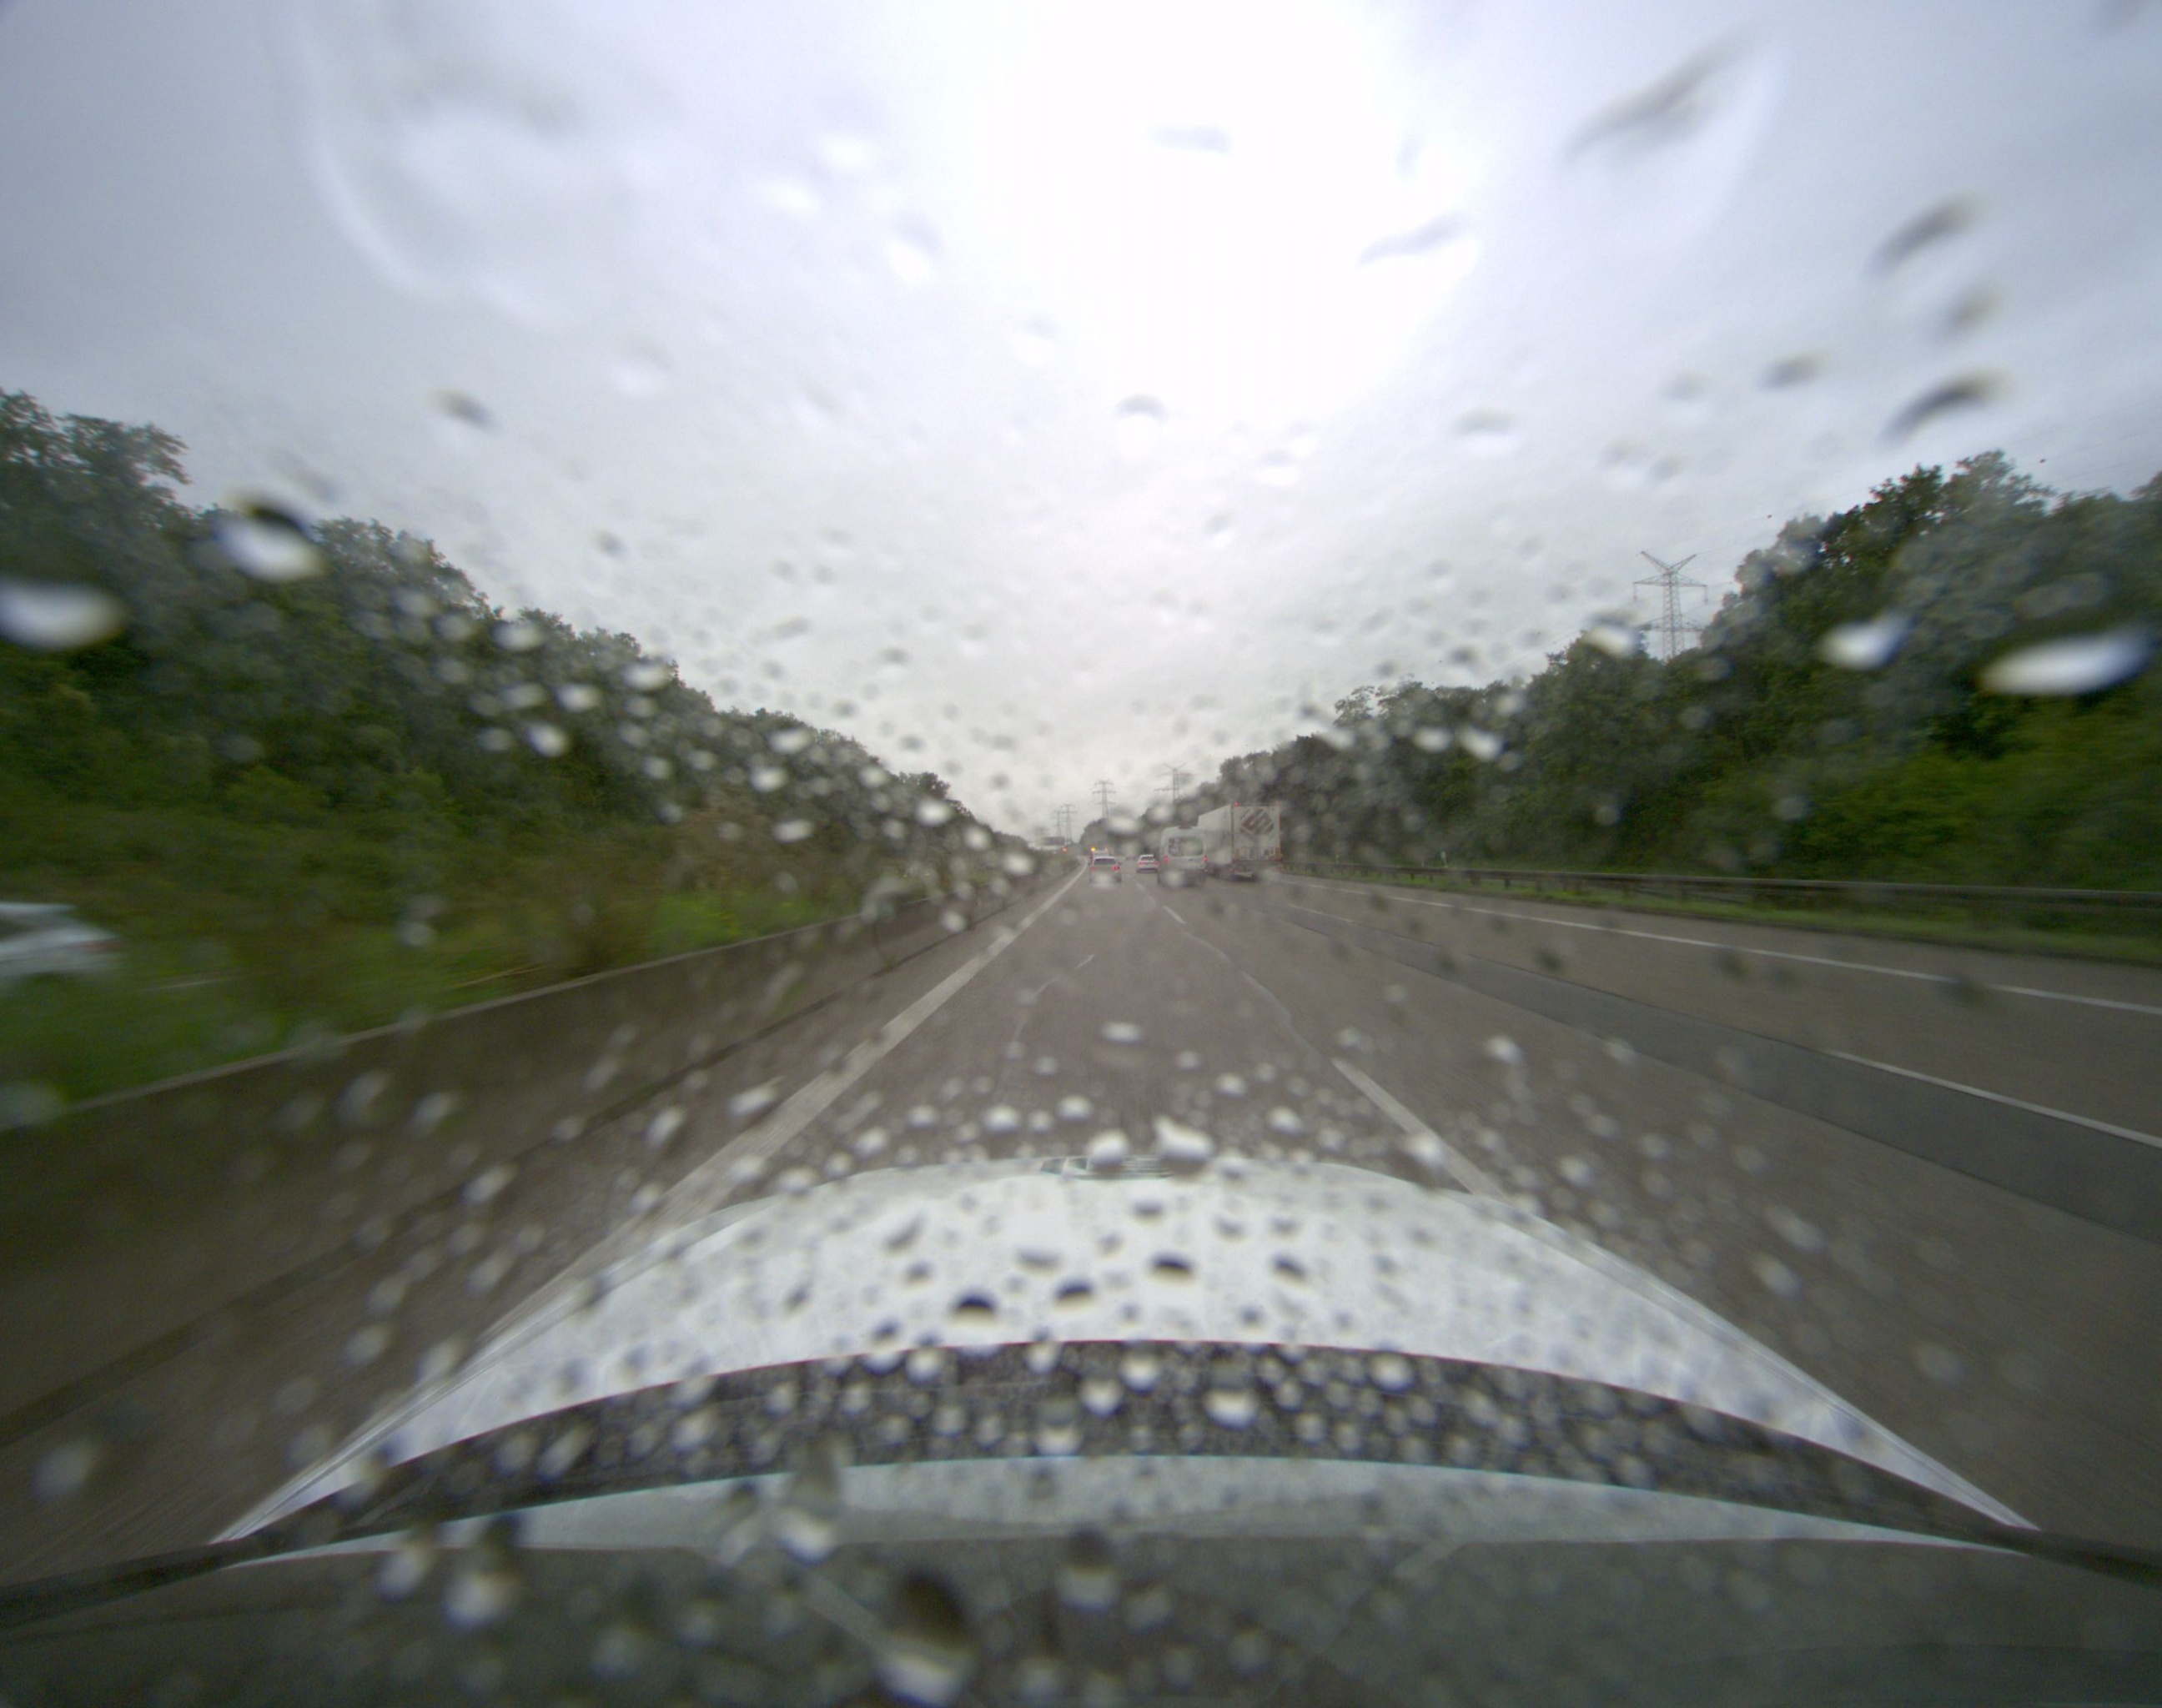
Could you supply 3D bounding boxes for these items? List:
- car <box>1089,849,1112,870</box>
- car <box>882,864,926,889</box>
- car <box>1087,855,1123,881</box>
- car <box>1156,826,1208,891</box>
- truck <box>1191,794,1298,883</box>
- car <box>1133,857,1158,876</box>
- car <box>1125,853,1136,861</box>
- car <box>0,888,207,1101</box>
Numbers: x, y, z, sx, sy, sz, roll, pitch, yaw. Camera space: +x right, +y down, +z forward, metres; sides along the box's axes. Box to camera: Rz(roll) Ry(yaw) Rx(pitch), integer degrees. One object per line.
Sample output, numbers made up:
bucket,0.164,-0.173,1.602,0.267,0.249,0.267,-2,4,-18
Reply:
car,1.841,0.514,75.608,1.837,1.772,4.005,-3,0,5
car,-11.441,1.430,52.840,1.868,1.453,4.001,-2,0,1
car,1.394,0.751,45.520,1.859,1.288,4.003,-3,0,2
car,4.727,0.210,38.770,1.986,2.864,4.001,-3,0,2
truck,9.056,-0.689,47.226,3.591,4.332,13.200,-2,-1,1
car,5.140,0.989,64.568,1.848,1.422,4.006,-1,0,6
car,9.994,0.562,164.186,1.984,1.486,4.004,-4,-1,4
car,-11.628,1.456,7.503,1.986,2.013,4.657,-3,0,2
